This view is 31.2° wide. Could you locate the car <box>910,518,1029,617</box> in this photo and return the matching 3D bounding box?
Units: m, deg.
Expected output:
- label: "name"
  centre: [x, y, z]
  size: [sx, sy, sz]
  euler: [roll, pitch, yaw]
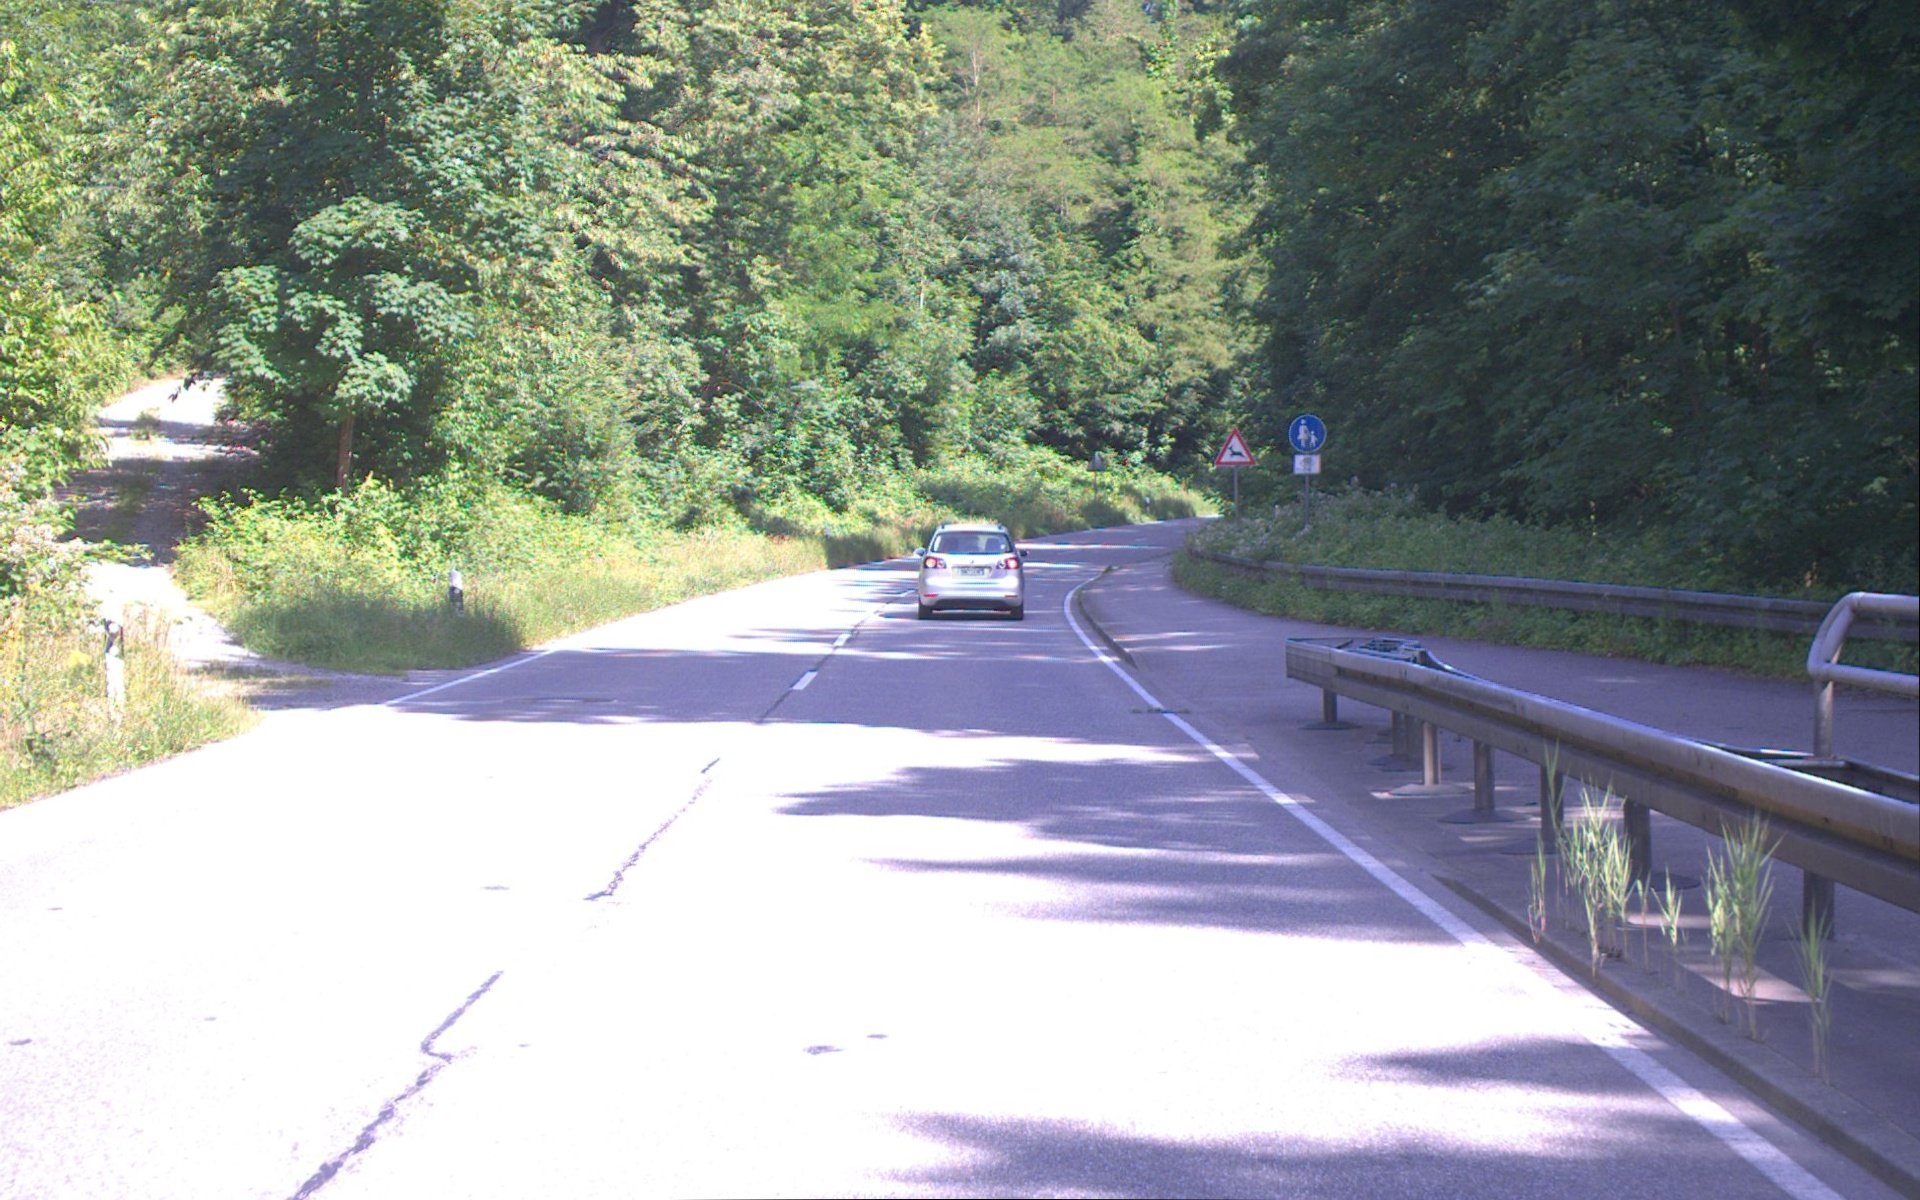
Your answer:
- label: "car"
  centre: [0.189, -0.573, 57.374]
  size: [1.751, 1.514, 4.159]
  euler: [1, 2, 3]
